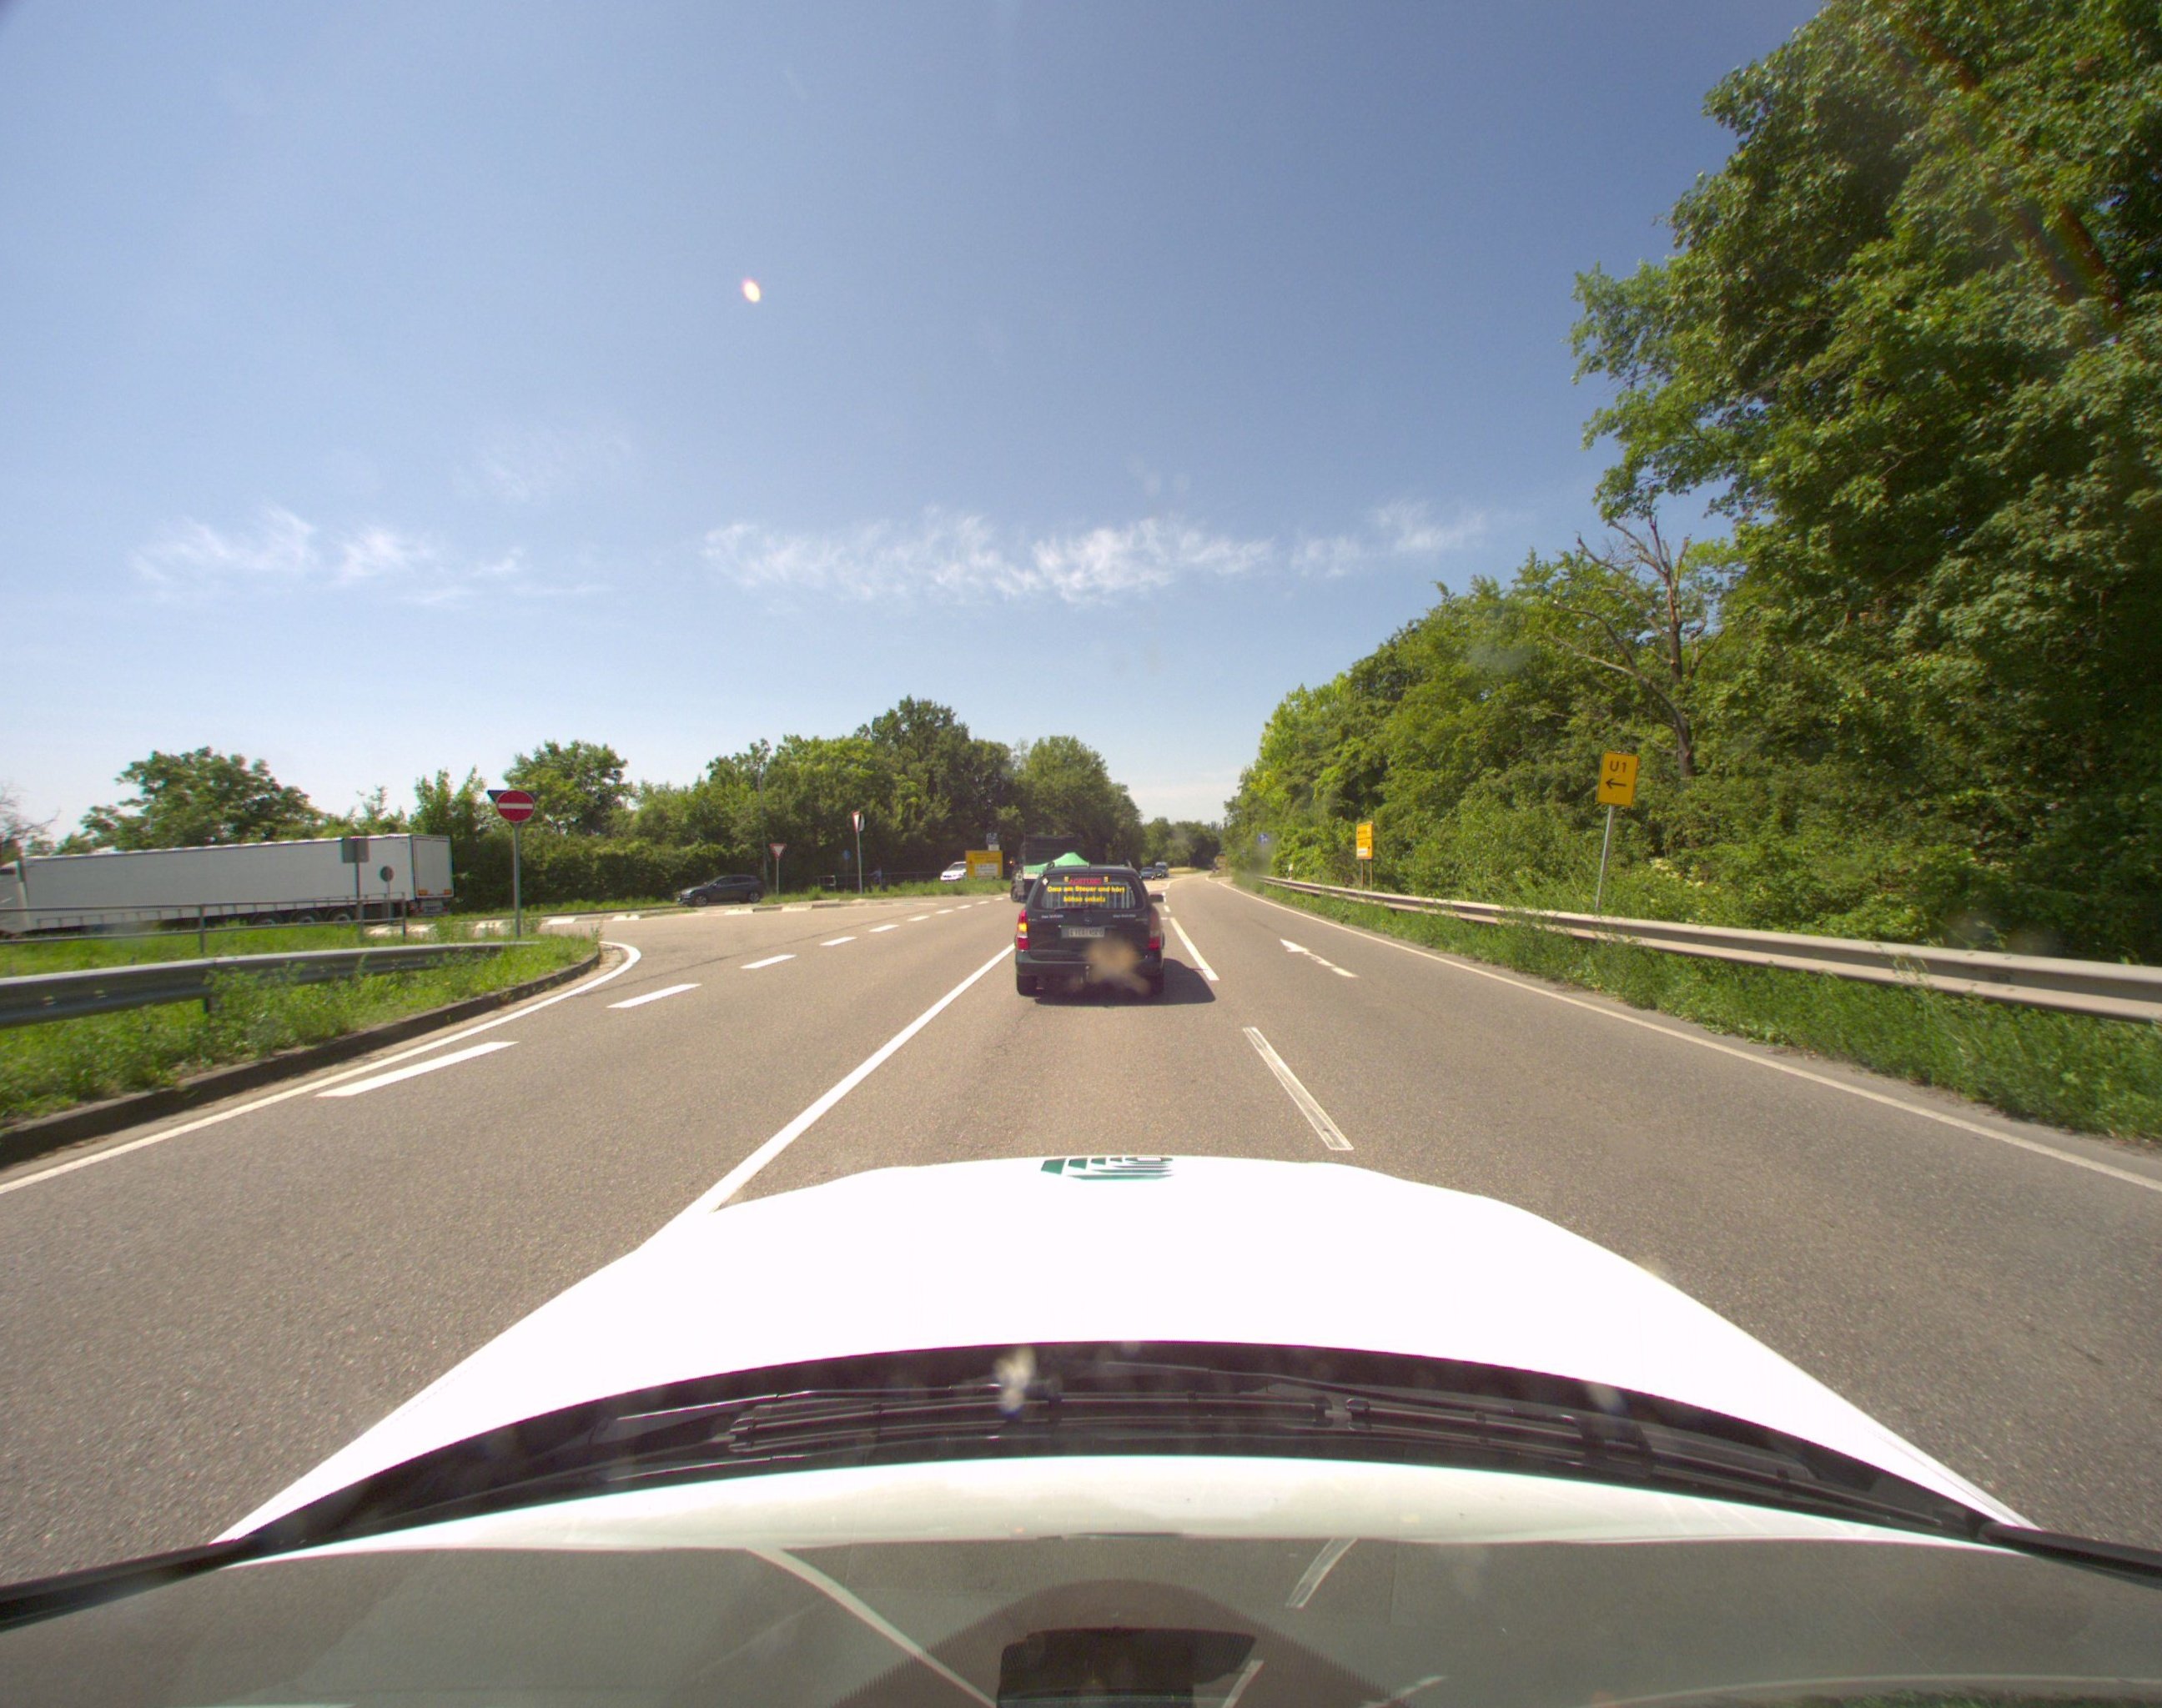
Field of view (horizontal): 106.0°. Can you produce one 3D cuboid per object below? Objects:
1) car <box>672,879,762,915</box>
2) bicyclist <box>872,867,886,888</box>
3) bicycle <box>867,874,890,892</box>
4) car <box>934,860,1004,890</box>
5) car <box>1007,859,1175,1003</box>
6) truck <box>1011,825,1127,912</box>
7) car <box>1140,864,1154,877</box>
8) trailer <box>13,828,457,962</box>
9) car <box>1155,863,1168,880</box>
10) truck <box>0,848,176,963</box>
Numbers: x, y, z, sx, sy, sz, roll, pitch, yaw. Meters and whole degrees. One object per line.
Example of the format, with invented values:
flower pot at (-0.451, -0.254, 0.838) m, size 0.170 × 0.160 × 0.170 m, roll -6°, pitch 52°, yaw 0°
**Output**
car at (-18.608, 2.159, 41.703) m, size 3.947 × 1.596 × 1.750 m, roll -1°, pitch 0°, yaw -37°
bicyclist at (-13.361, 1.583, 53.891) m, size 0.681 × 1.363 × 0.613 m, roll -1°, pitch 0°, yaw 37°
bicycle at (-13.378, 1.934, 53.839) m, size 0.431 × 1.113 × 1.491 m, roll -2°, pitch -1°, yaw 36°
car at (-7.553, 1.402, 55.419) m, size 1.991 × 1.924 × 5.226 m, roll -1°, pitch 0°, yaw 28°
car at (0.197, 0.801, 10.279) m, size 1.713 × 1.457 × 3.800 m, roll -1°, pitch 0°, yaw 3°
truck at (-0.607, 0.443, 27.306) m, size 2.144 × 2.565 × 6.600 m, roll 0°, pitch 0°, yaw -17°
car at (7.641, 1.864, 93.993) m, size 1.636 × 1.419 × 3.771 m, roll -1°, pitch -1°, yaw 5°
trailer at (-35.348, 1.586, 34.742) m, size 13.748 × 4.275 × 2.989 m, roll -4°, pitch 0°, yaw -10°
car at (13.502, 2.912, 136.620) m, size 2.094 × 2.850 × 6.022 m, roll -1°, pitch -1°, yaw 6°
truck at (-42.306, 2.127, 33.775) m, size 5.887 × 4.275 × 3.000 m, roll -4°, pitch 0°, yaw 1°
